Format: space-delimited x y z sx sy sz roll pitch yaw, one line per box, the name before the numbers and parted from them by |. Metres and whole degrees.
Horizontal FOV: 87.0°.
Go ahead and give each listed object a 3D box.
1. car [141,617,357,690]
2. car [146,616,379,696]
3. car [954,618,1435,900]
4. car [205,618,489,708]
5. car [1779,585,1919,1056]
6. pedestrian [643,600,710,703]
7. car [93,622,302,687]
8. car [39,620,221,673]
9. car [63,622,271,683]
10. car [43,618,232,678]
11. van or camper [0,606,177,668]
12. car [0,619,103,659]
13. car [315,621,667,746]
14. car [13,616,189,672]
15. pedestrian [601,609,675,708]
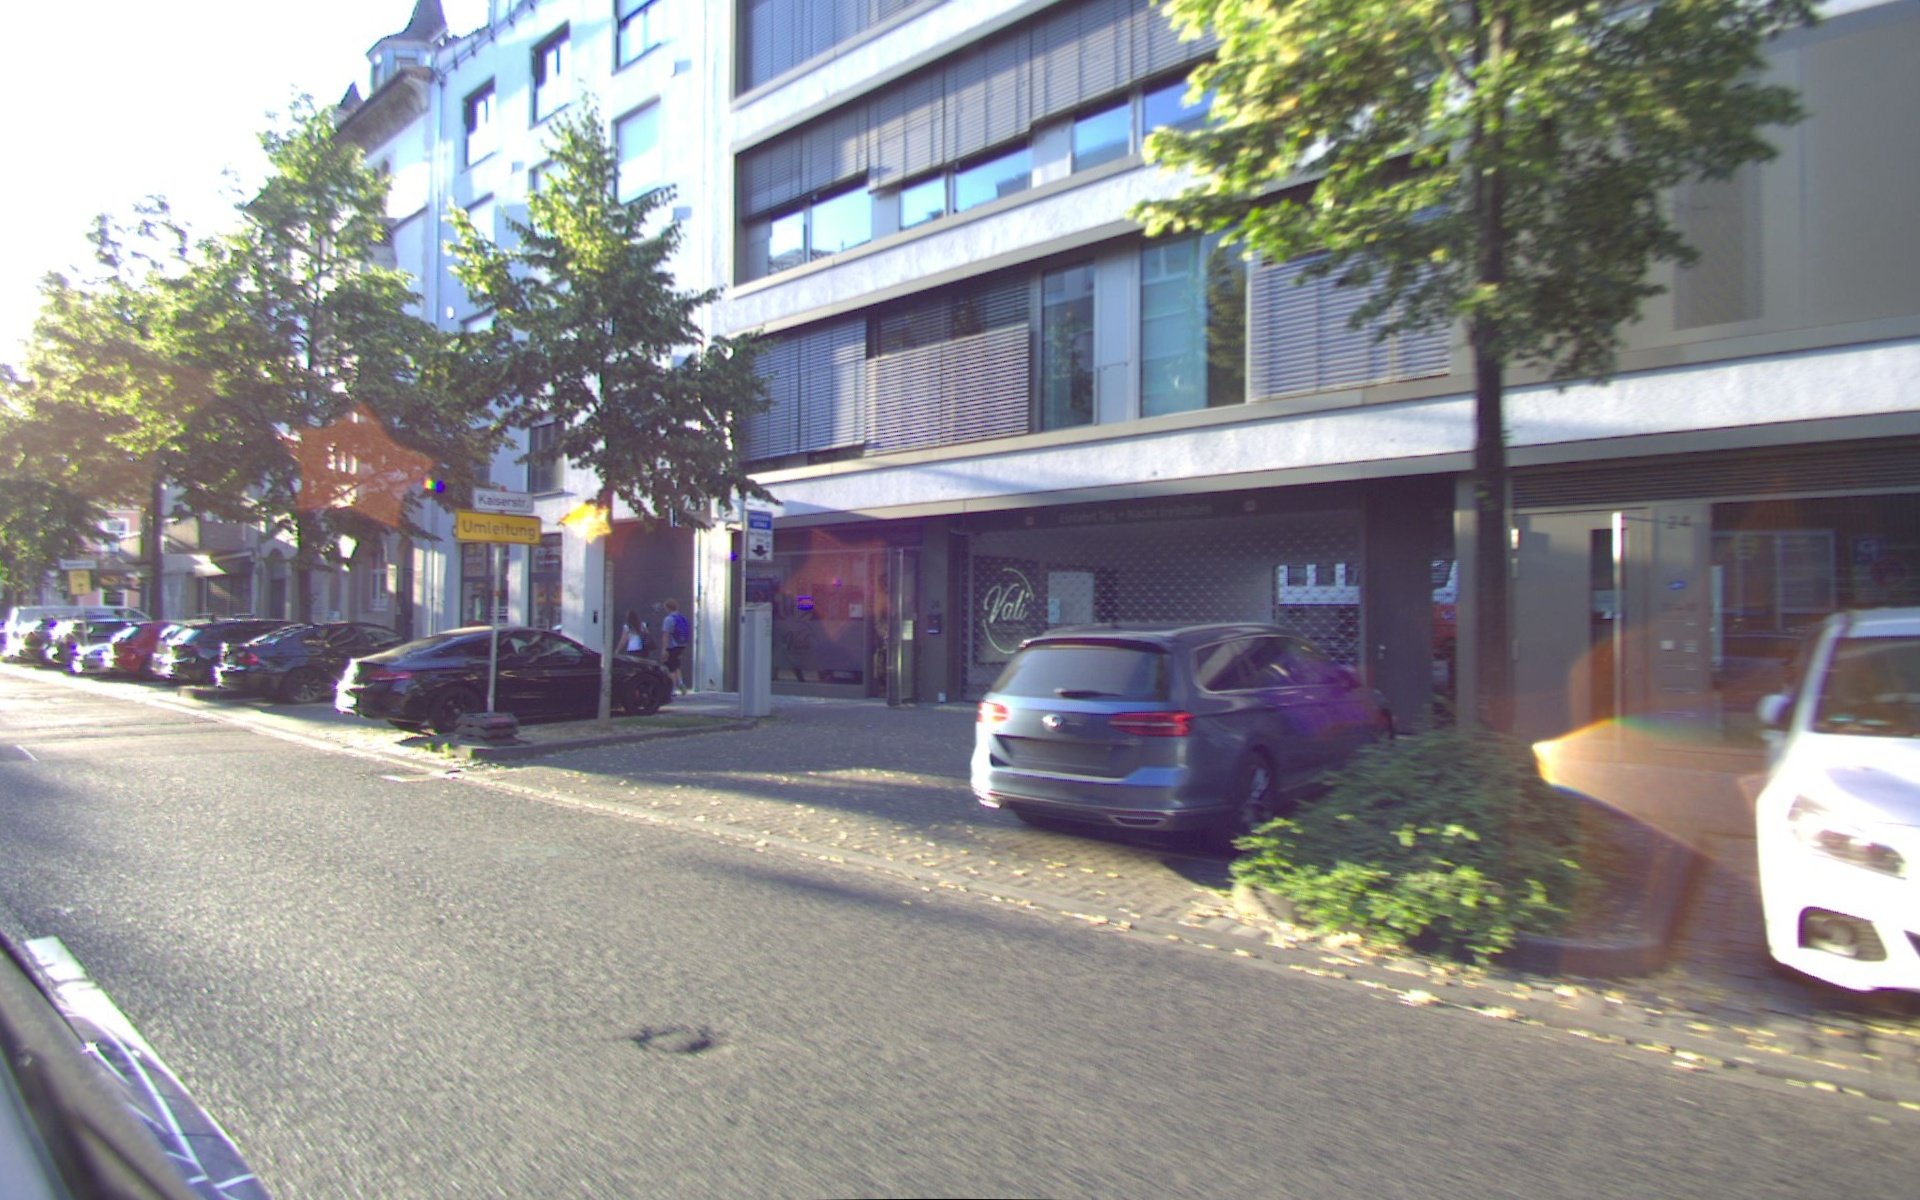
car | -16.605 1.185 23.784 1.742 1.579 3.829 -1 -1 37
car | -15.024 1.144 21.964 1.742 1.579 3.829 -1 -1 37
car | 2.061 0.894 7.716 1.743 1.495 4.502 -1 -2 40
car | -11.339 1.086 18.994 1.742 1.495 4.234 -1 -1 37
car | 5.122 0.746 4.775 1.888 1.608 4.363 -2 -1 39
pedestrian | -5.047 0.887 18.000 0.933 1.762 0.712 -1 0 40
car | -18.834 1.290 25.133 1.742 1.468 3.829 -1 -1 37
car | -25.705 1.395 31.465 1.731 1.453 4.141 0 0 40
car | -20.664 1.325 26.516 1.741 1.397 4.004 -2 -1 36
car | -23.856 1.322 29.440 4.135 1.548 1.745 0 0 -45
van or camper | -29.790 1.233 34.693 1.788 1.971 4.412 -1 -2 41
car | -37.898 1.580 41.191 1.812 1.536 4.384 -1 -1 39
car | -6.511 1.053 14.446 1.743 1.495 4.231 -1 -2 40
car | -27.691 1.378 32.730 1.732 1.681 4.138 0 -1 42
pedestrian | -5.558 0.985 17.471 1.094 1.614 0.712 -1 0 40
